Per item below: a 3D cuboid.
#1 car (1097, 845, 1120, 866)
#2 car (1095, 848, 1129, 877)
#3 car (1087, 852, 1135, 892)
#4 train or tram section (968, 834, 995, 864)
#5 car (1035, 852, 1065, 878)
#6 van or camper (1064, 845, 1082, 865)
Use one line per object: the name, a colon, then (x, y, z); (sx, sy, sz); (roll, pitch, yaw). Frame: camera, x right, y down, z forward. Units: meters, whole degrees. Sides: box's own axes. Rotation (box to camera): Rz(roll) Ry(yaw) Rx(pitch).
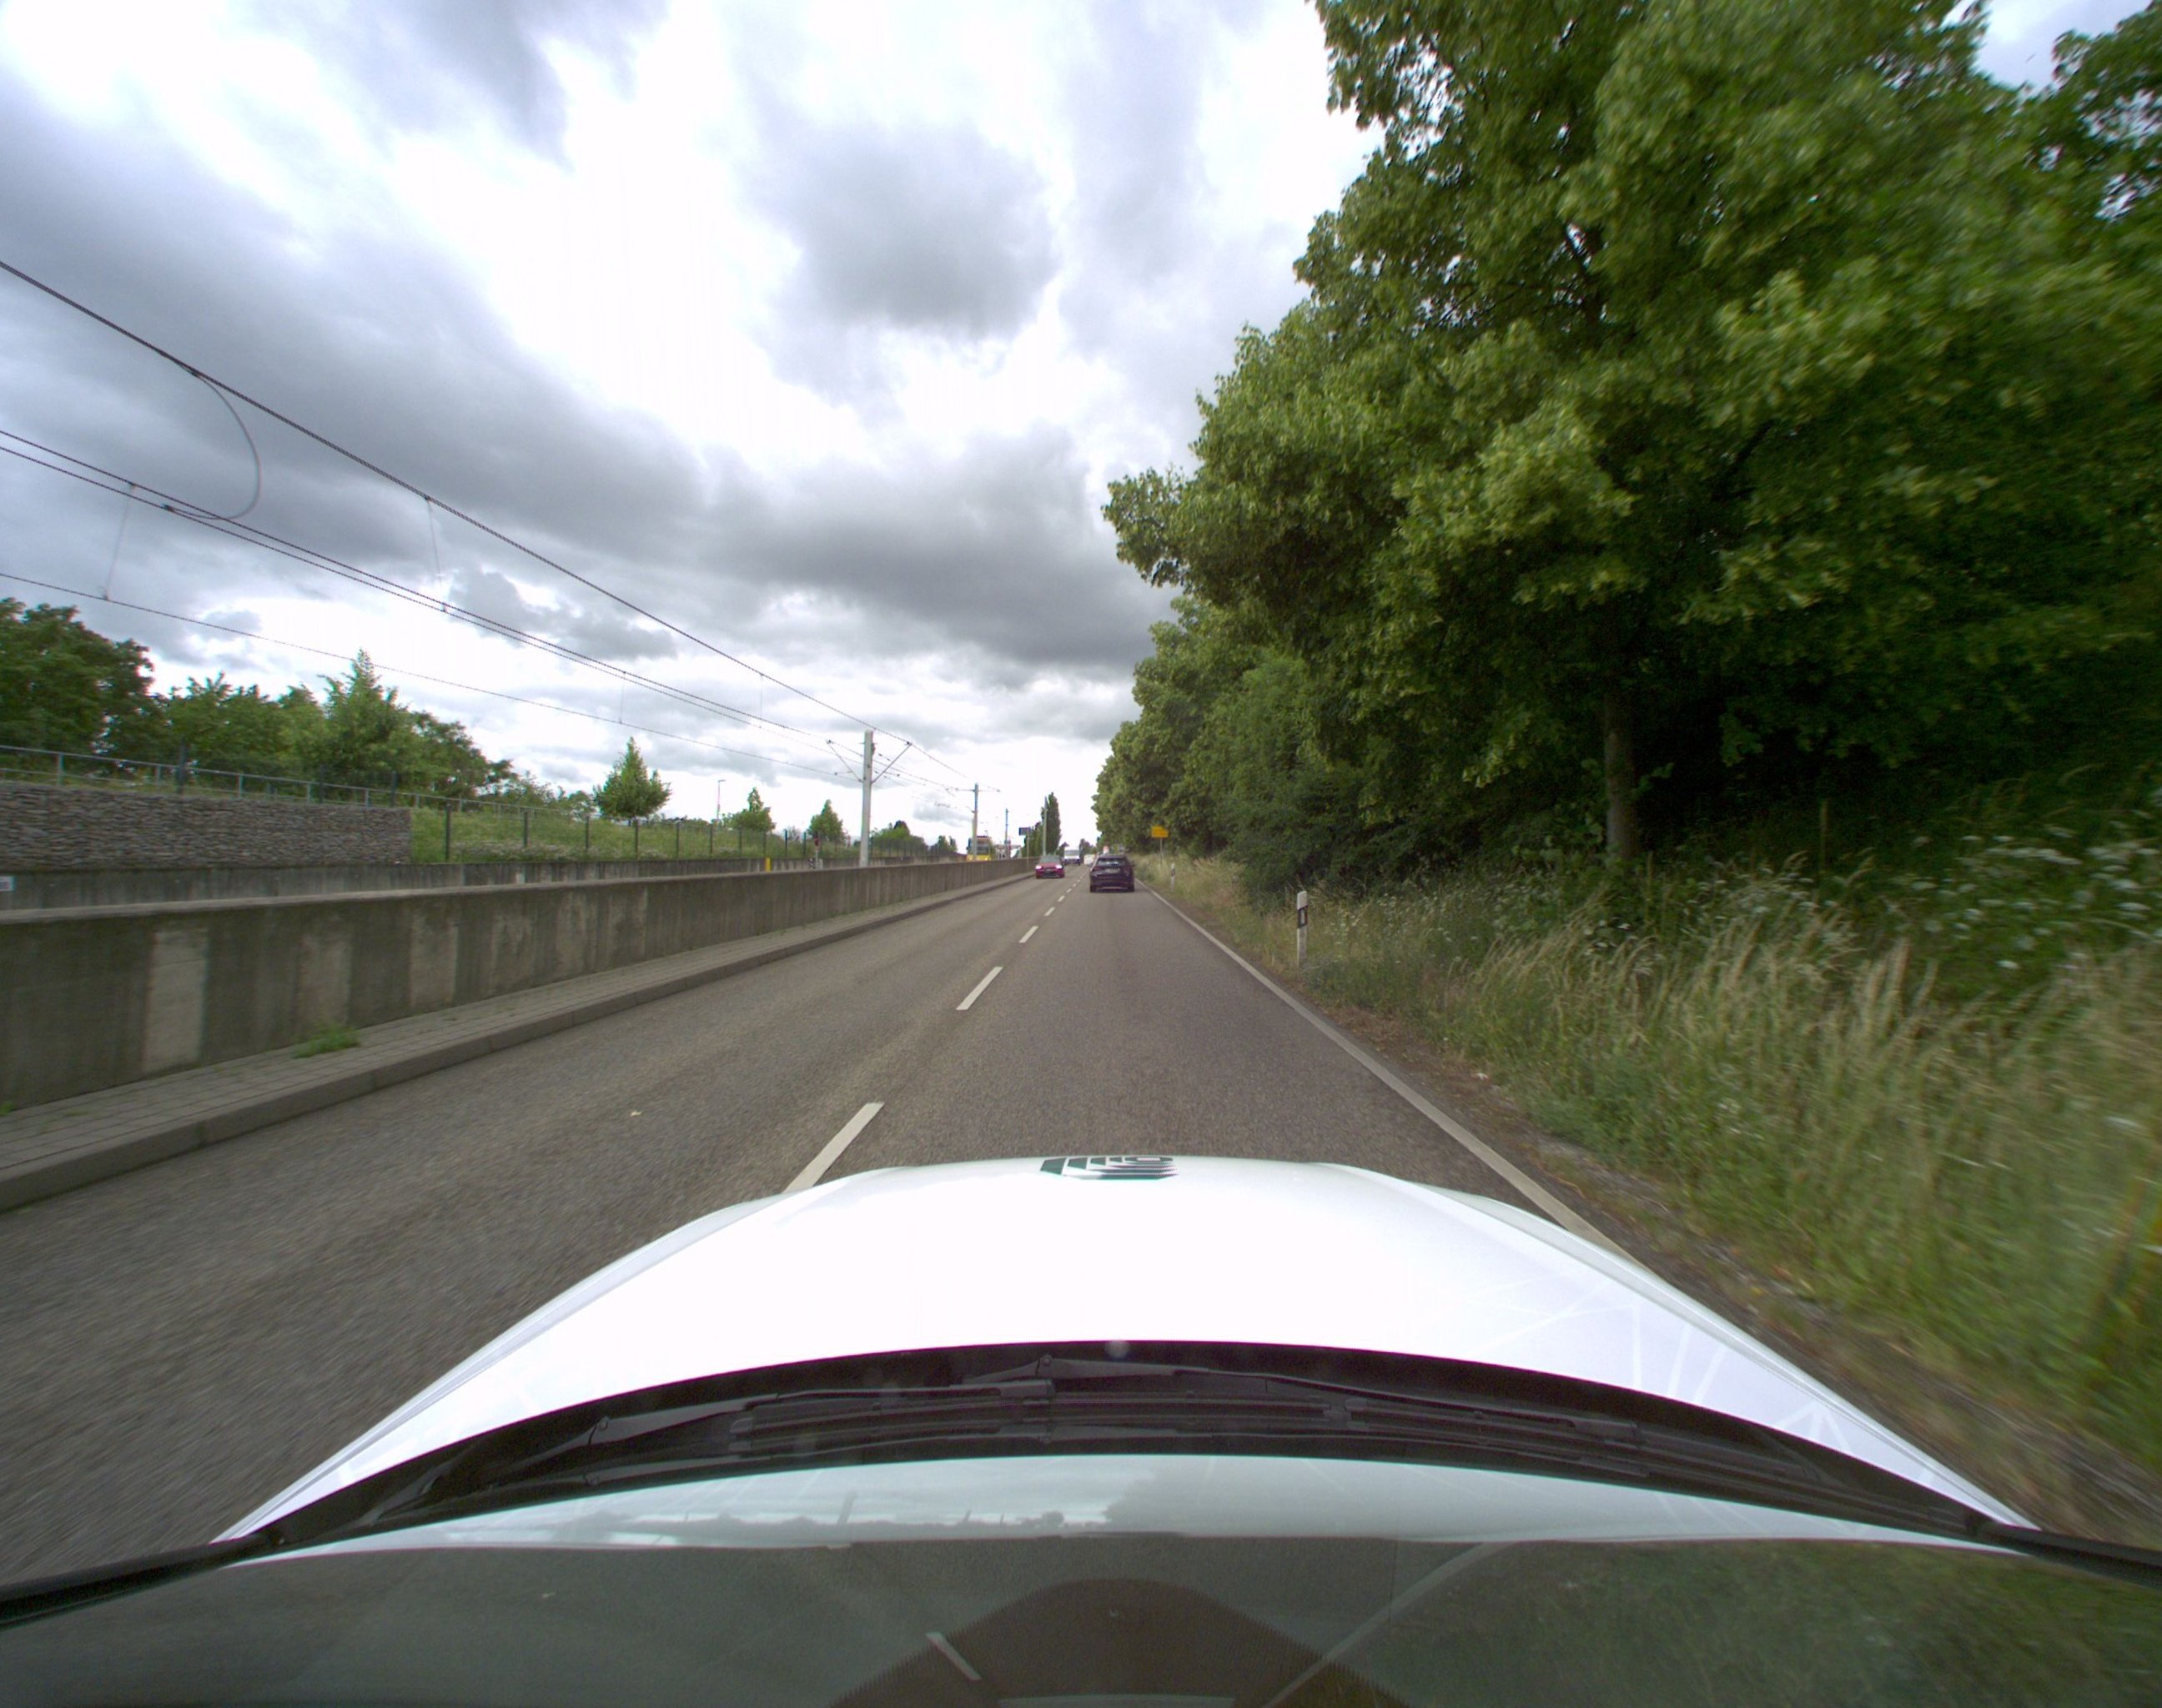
car: (2.465, 0.145, 72.722); (1.986, 1.740, 4.001); (-1, -1, 1)
car: (1.940, 0.501, 51.210); (1.986, 1.753, 4.001); (-1, 0, 1)
car: (1.195, 0.697, 32.840); (1.775, 1.468, 4.001); (-1, 0, 2)
train or tram section: (-11.726, -0.459, 97.417); (2.808, 3.117, 18.875); (-1, -1, -6)
car: (-1.944, 0.684, 52.281); (1.657, 1.545, 3.953); (-1, 0, 1)
van or camper: (-1.019, 0.105, 104.306); (2.075, 2.396, 6.138); (-1, 0, 1)
